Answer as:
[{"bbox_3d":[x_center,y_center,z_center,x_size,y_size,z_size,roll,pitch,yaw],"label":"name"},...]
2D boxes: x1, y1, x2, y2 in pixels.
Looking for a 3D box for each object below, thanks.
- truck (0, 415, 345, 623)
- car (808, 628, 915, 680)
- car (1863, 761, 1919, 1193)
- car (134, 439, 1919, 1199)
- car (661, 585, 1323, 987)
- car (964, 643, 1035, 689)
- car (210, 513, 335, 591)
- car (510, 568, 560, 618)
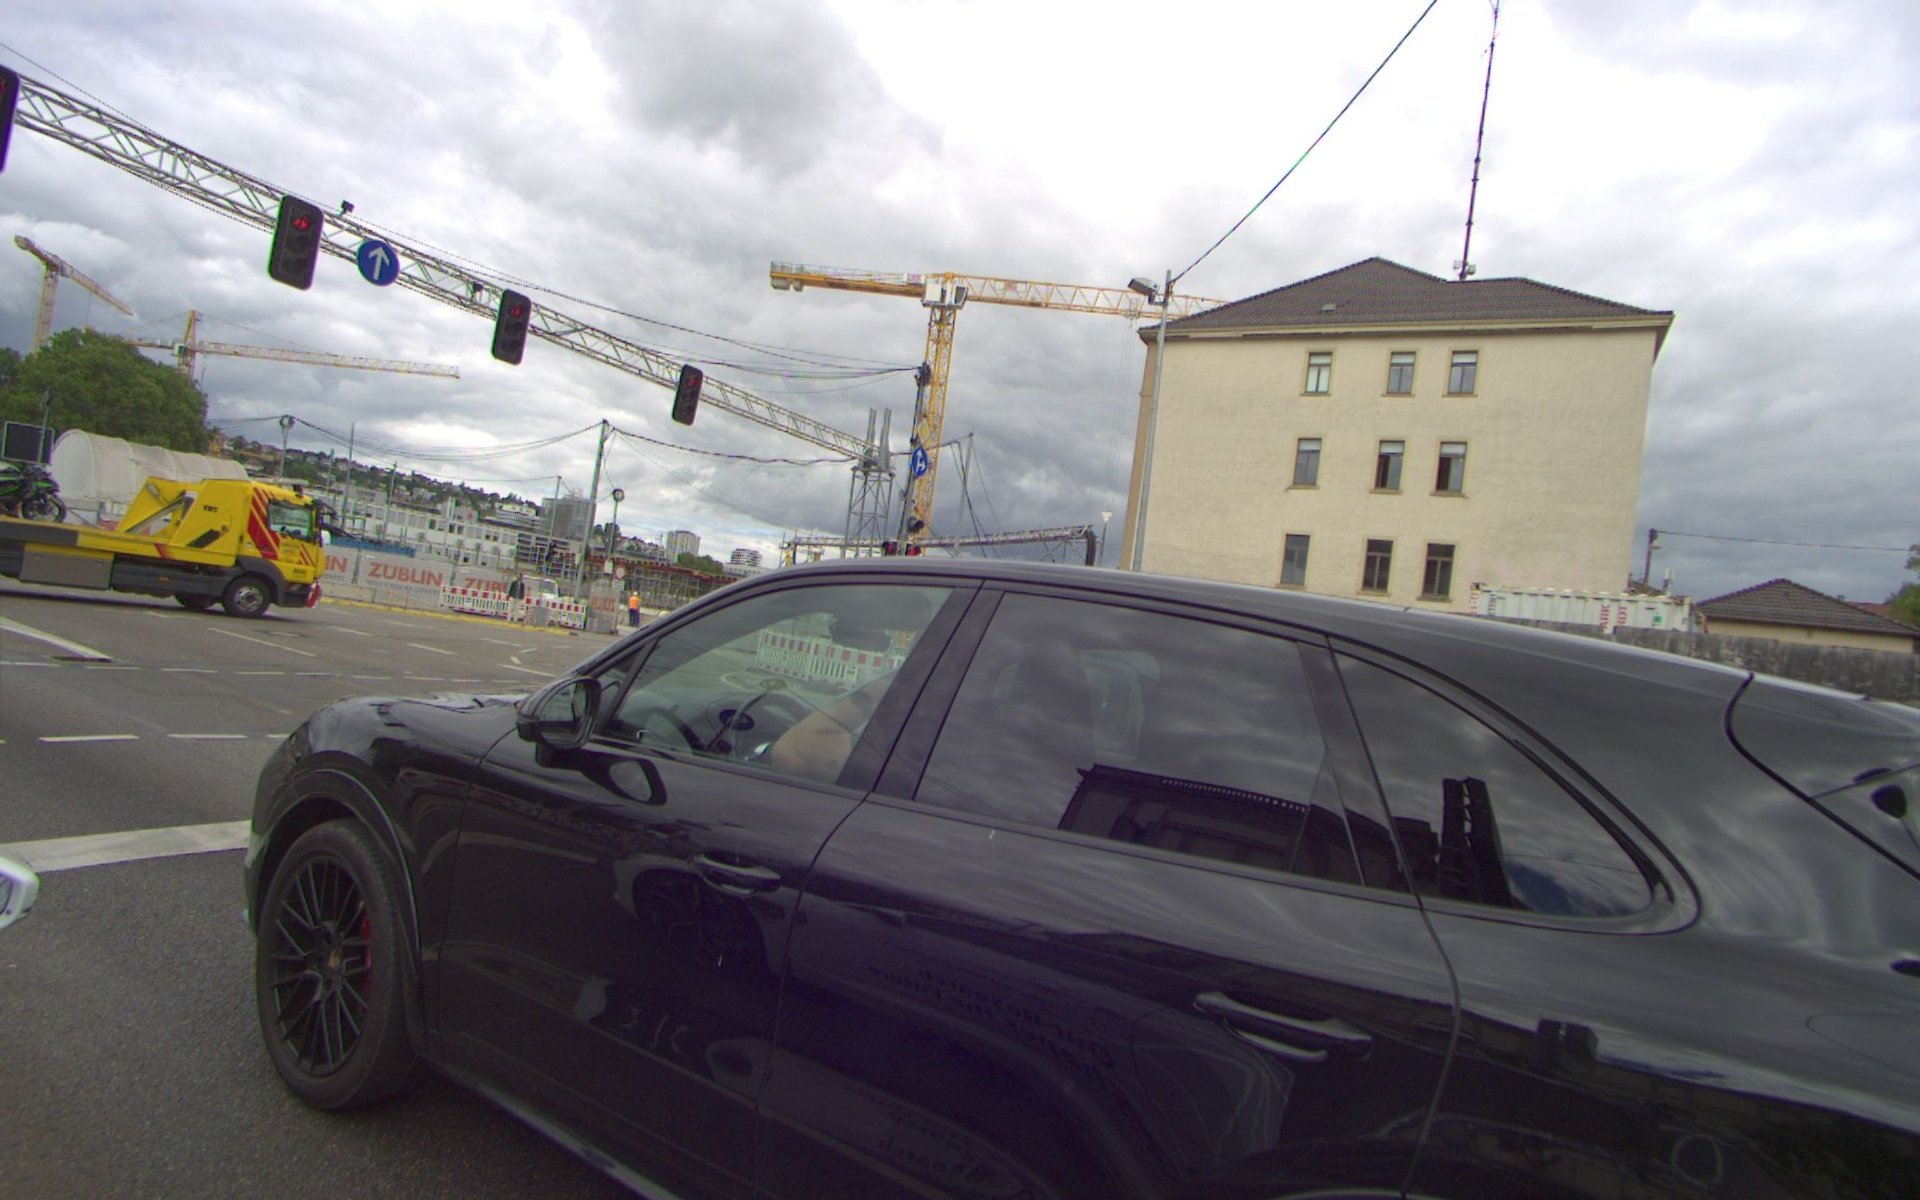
[{"bbox_3d":[-15.954,-1.540,17.134,2.582,2.835,9.006,7,-2,29],"label":"truck"},{"bbox_3d":[-3.572,2.036,37.251,1.655,1.512,3.993,6,-2,34],"label":"car"},{"bbox_3d":[5.762,1.678,2.578,4.729,1.644,1.828,6,-2,32],"label":"car"},{"bbox_3d":[-0.087,0.659,2.697,4.410,1.735,1.828,6,-2,32],"label":"car"},{"bbox_3d":[0.110,0.977,6.672,3.934,1.644,1.679,6,-2,32],"label":"car"},{"bbox_3d":[2.073,3.457,52.253,1.655,1.971,3.993,6,-2,34],"label":"car"},{"bbox_3d":[-29.578,-2.044,43.378,1.660,2.692,3.979,6,-2,45],"label":"car"},{"bbox_3d":[-19.167,-0.327,45.307,1.757,1.976,3.108,8,-2,-25],"label":"car"}]
